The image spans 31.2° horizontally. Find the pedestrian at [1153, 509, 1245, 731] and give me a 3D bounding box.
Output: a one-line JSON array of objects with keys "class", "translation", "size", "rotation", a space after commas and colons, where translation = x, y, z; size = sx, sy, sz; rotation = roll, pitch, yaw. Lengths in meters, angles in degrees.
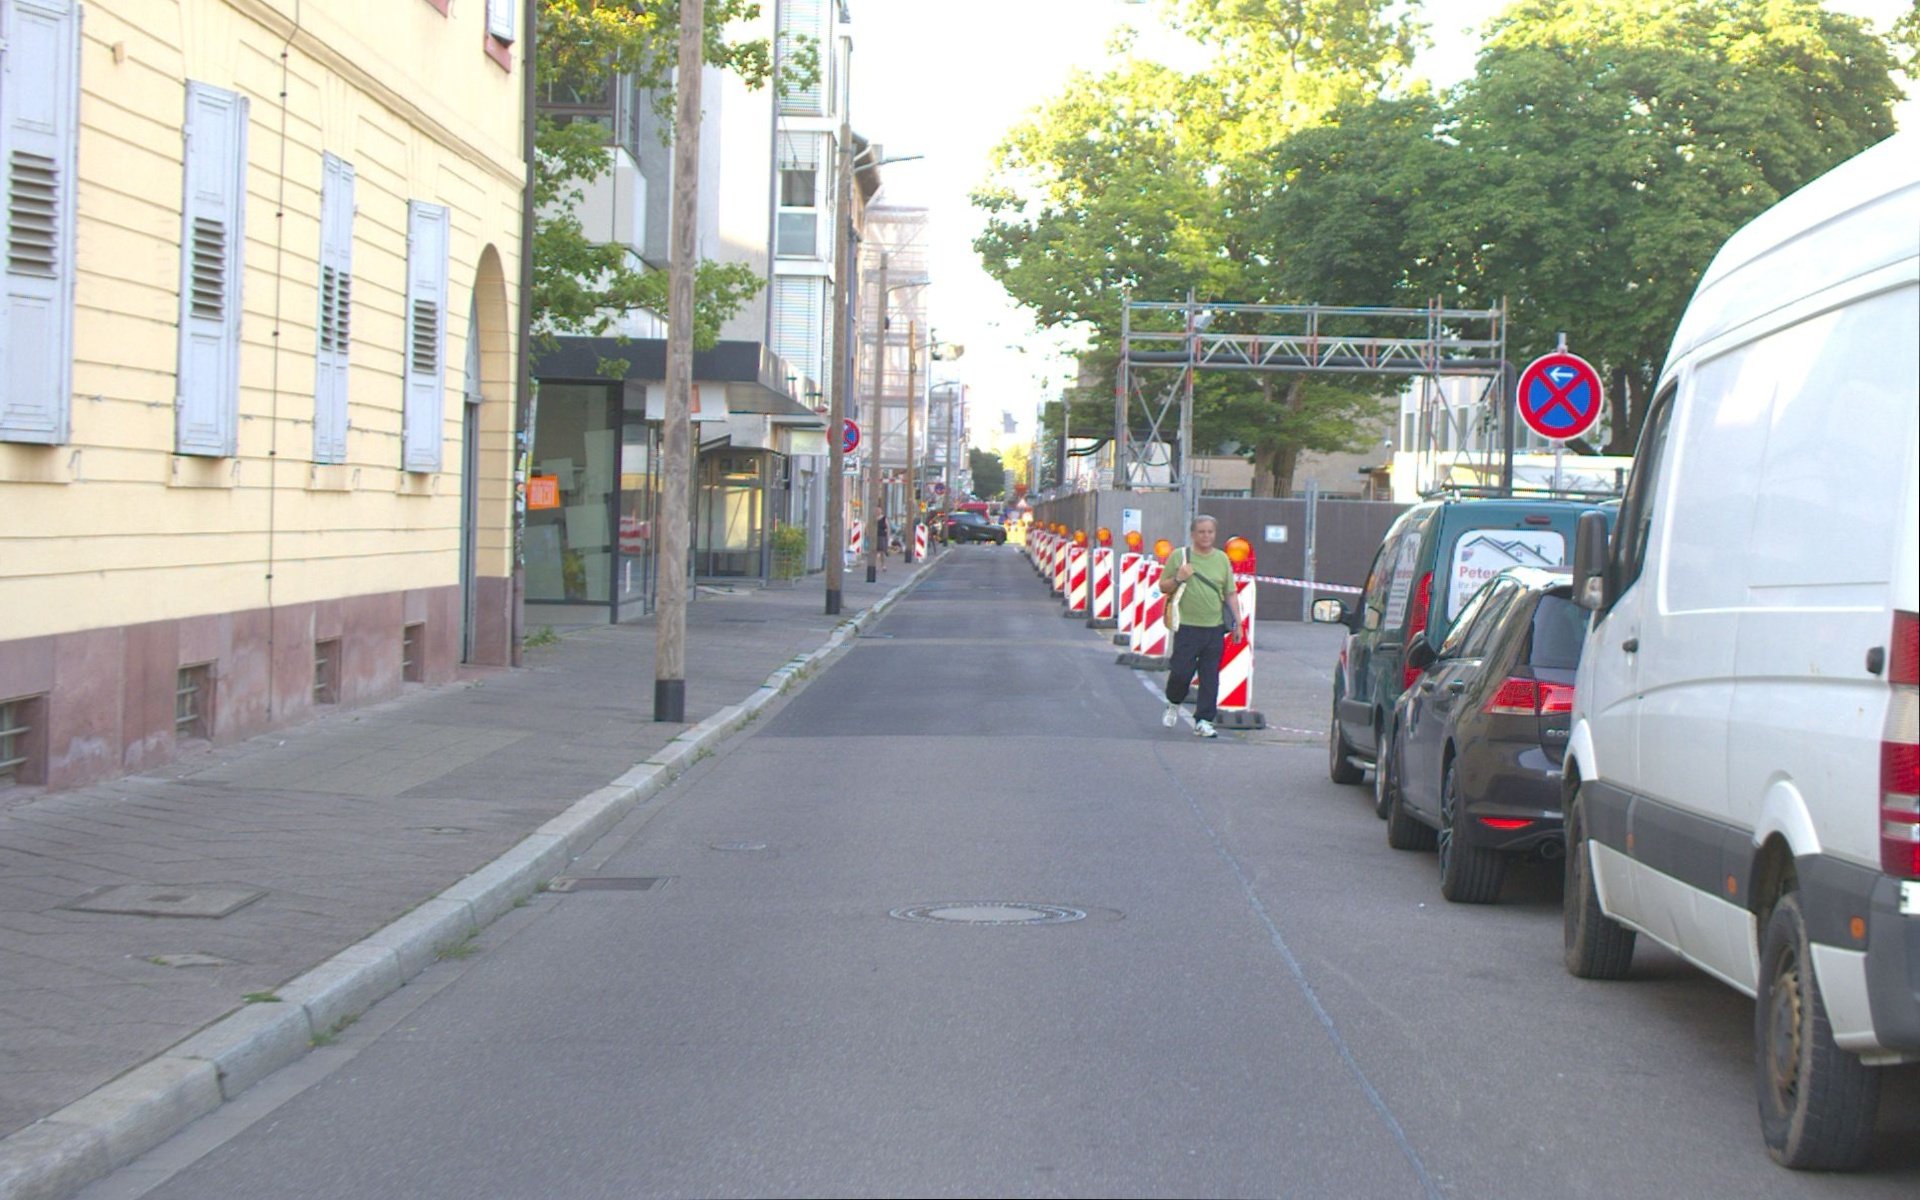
[{"class": "pedestrian", "translation": [1.795, 0.139, 25.895], "size": [0.613, 1.623, 0.818], "rotation": [2, 1, 3]}]

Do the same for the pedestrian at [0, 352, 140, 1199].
[{"class": "pedestrian", "translation": [-2.302, 0.347, 7.184], "size": [0.876, 1.718, 0.829], "rotation": [2, 1, 5]}]

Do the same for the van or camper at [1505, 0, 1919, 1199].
[{"class": "van or camper", "translation": [3.071, 0.001, 10.048], "size": [2.077, 2.765, 6.449], "rotation": [2, 1, 2]}]

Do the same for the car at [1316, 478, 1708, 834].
[{"class": "car", "translation": [3.156, 0.251, 20.394], "size": [1.713, 1.842, 4.022], "rotation": [2, 1, 2]}]

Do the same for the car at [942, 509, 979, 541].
[{"class": "car", "translation": [0.024, -3.995, 183.161], "size": [1.858, 1.656, 4.000], "rotation": [2, 1, 1]}]

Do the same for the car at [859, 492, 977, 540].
[{"class": "car", "translation": [-1.405, -2.785, 113.929], "size": [3.742, 1.454, 1.698], "rotation": [2, 1, -5]}]

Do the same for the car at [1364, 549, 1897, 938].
[{"class": "car", "translation": [2.916, 0.542, 15.774], "size": [1.692, 1.454, 4.099], "rotation": [2, 1, 2]}]
